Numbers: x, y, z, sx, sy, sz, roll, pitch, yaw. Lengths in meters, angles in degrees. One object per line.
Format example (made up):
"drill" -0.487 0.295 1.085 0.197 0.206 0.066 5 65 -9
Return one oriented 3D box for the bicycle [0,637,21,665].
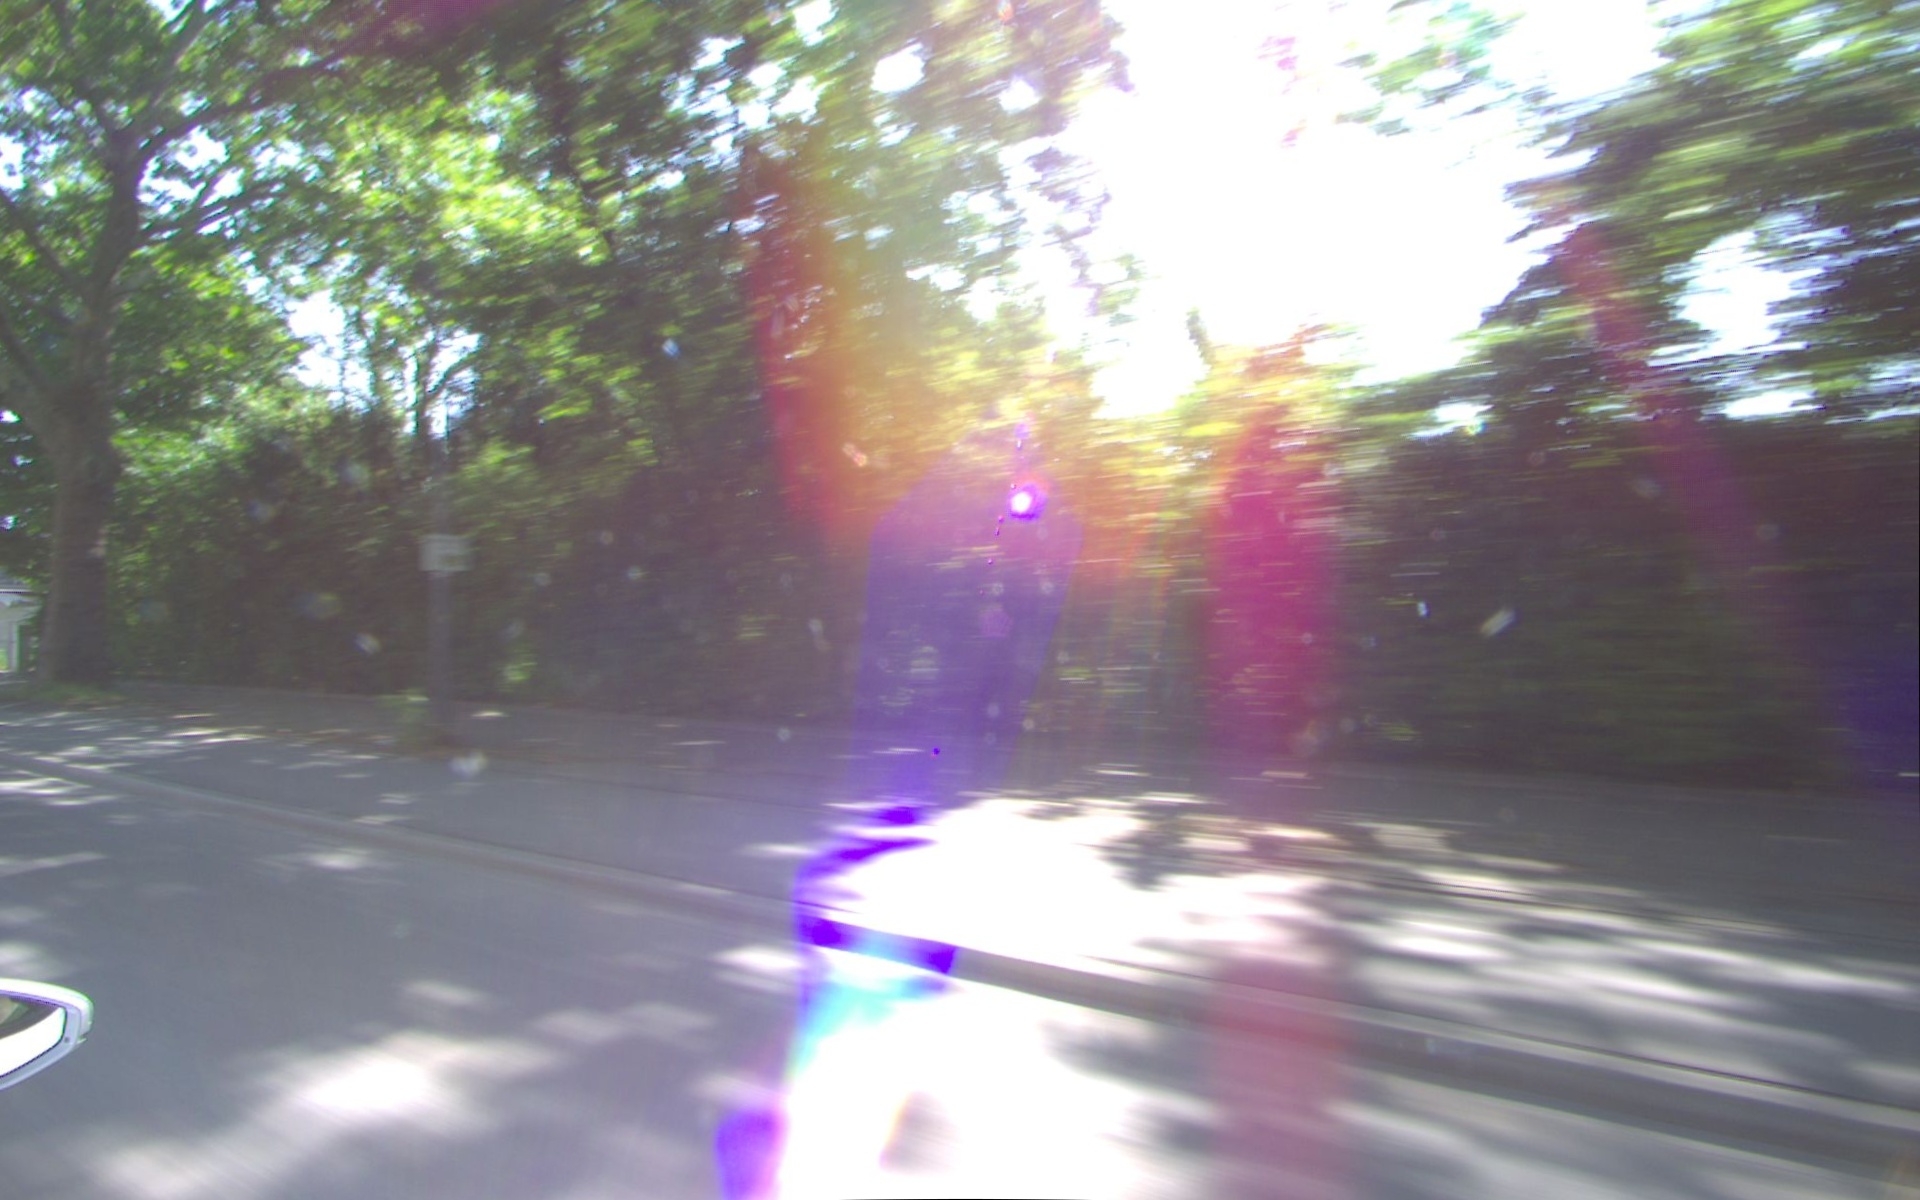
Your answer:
"bicycle" -40.019 2.142 42.207 1.157 1.195 0.388 -1 -2 34
